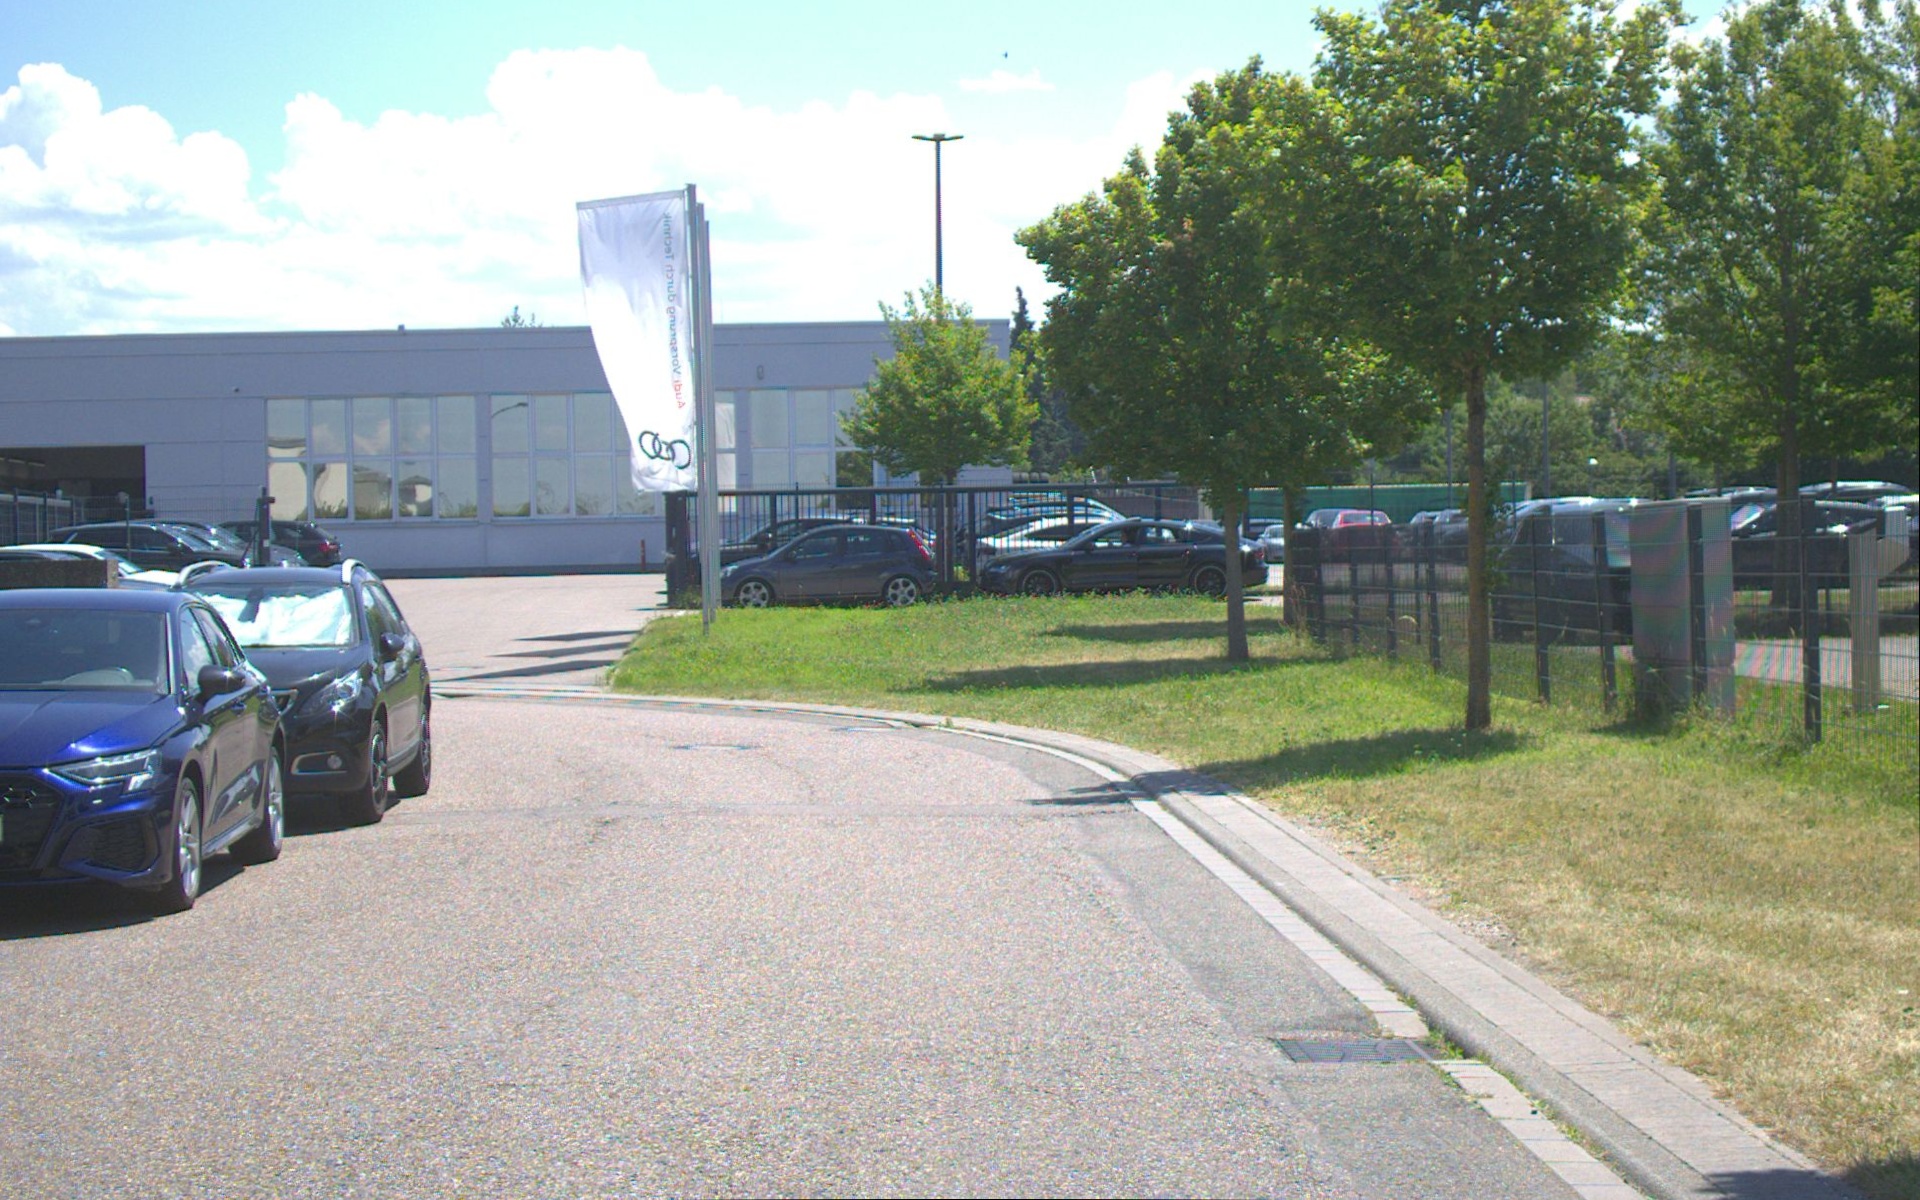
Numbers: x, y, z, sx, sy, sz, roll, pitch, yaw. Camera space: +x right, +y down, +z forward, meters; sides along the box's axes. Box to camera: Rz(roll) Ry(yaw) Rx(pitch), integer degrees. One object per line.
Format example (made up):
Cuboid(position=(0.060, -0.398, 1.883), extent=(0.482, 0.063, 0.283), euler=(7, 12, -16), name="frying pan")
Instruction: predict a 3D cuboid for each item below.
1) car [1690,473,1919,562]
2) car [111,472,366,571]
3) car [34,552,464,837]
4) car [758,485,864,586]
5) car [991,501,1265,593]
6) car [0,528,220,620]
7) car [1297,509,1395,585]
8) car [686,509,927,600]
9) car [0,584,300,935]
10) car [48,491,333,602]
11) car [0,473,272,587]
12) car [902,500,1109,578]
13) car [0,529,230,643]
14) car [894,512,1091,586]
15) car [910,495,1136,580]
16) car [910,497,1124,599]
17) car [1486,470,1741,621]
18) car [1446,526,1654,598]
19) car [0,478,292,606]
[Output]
Cuboid(position=(15.239, -1.435, 60.075), extent=(4.437, 1.393, 2.000), euler=(-1, -1, -3), name="car")
Cuboid(position=(-15.037, -1.633, 71.858), extent=(4.883, 1.916, 2.000), euler=(-2, 1, -2), name="car")
Cuboid(position=(-4.299, 0.505, 21.434), extent=(1.833, 1.541, 4.265), euler=(-2, 1, -1), name="car")
Cuboid(position=(-2.996, -1.256, 68.536), extent=(1.993, 1.821, 4.000), euler=(-1, -1, -3), name="car")
Cuboid(position=(2.823, -0.888, 58.464), extent=(4.437, 1.393, 2.000), euler=(-1, -1, -3), name="car")
Cuboid(position=(-14.782, -0.408, 57.417), extent=(4.437, 1.393, 2.000), euler=(-1, -1, -3), name="car")
Cuboid(position=(10.163, -1.378, 90.807), extent=(1.993, 1.821, 4.000), euler=(-1, -1, -2), name="car")
Cuboid(position=(-2.620, -0.765, 58.491), extent=(3.986, 1.393, 2.000), euler=(-1, -1, -3), name="car")
Cuboid(position=(-4.284, 0.670, 16.376), extent=(1.656, 1.412, 4.146), euler=(-2, 1, -3), name="car")
Cuboid(position=(-14.395, -1.007, 64.508), extent=(4.883, 1.916, 2.000), euler=(-2, 1, -2), name="car")
Cuboid(position=(-14.943, -1.271, 62.203), extent=(4.586, 1.916, 2.000), euler=(-2, 1, -2), name="car")
Cuboid(position=(0.888, -1.208, 68.968), extent=(3.986, 1.393, 2.000), euler=(-1, -1, -3), name="car")
Cuboid(position=(-13.550, -0.188, 52.438), extent=(4.437, 1.621, 2.000), euler=(-1, -1, -3), name="car")
Cuboid(position=(0.662, -1.072, 72.295), extent=(3.986, 1.393, 2.000), euler=(-1, -1, -3), name="car")
Cuboid(position=(1.130, -1.145, 63.352), extent=(3.986, 1.393, 2.000), euler=(-1, -1, -3), name="car")
Cuboid(position=(1.078, -0.995, 66.651), extent=(3.986, 1.821, 2.000), euler=(-1, -1, -3), name="car")
Cuboid(position=(7.066, -0.603, 37.517), extent=(1.735, 1.517, 3.896), euler=(-2, 1, -4), name="car")
Cuboid(position=(12.538, -0.801, 73.189), extent=(3.986, 1.393, 2.000), euler=(-1, -1, -3), name="car")
Cuboid(position=(-14.541, -1.011, 60.115), extent=(5.317, 2.090, 2.000), euler=(-2, 1, -2), name="car")
